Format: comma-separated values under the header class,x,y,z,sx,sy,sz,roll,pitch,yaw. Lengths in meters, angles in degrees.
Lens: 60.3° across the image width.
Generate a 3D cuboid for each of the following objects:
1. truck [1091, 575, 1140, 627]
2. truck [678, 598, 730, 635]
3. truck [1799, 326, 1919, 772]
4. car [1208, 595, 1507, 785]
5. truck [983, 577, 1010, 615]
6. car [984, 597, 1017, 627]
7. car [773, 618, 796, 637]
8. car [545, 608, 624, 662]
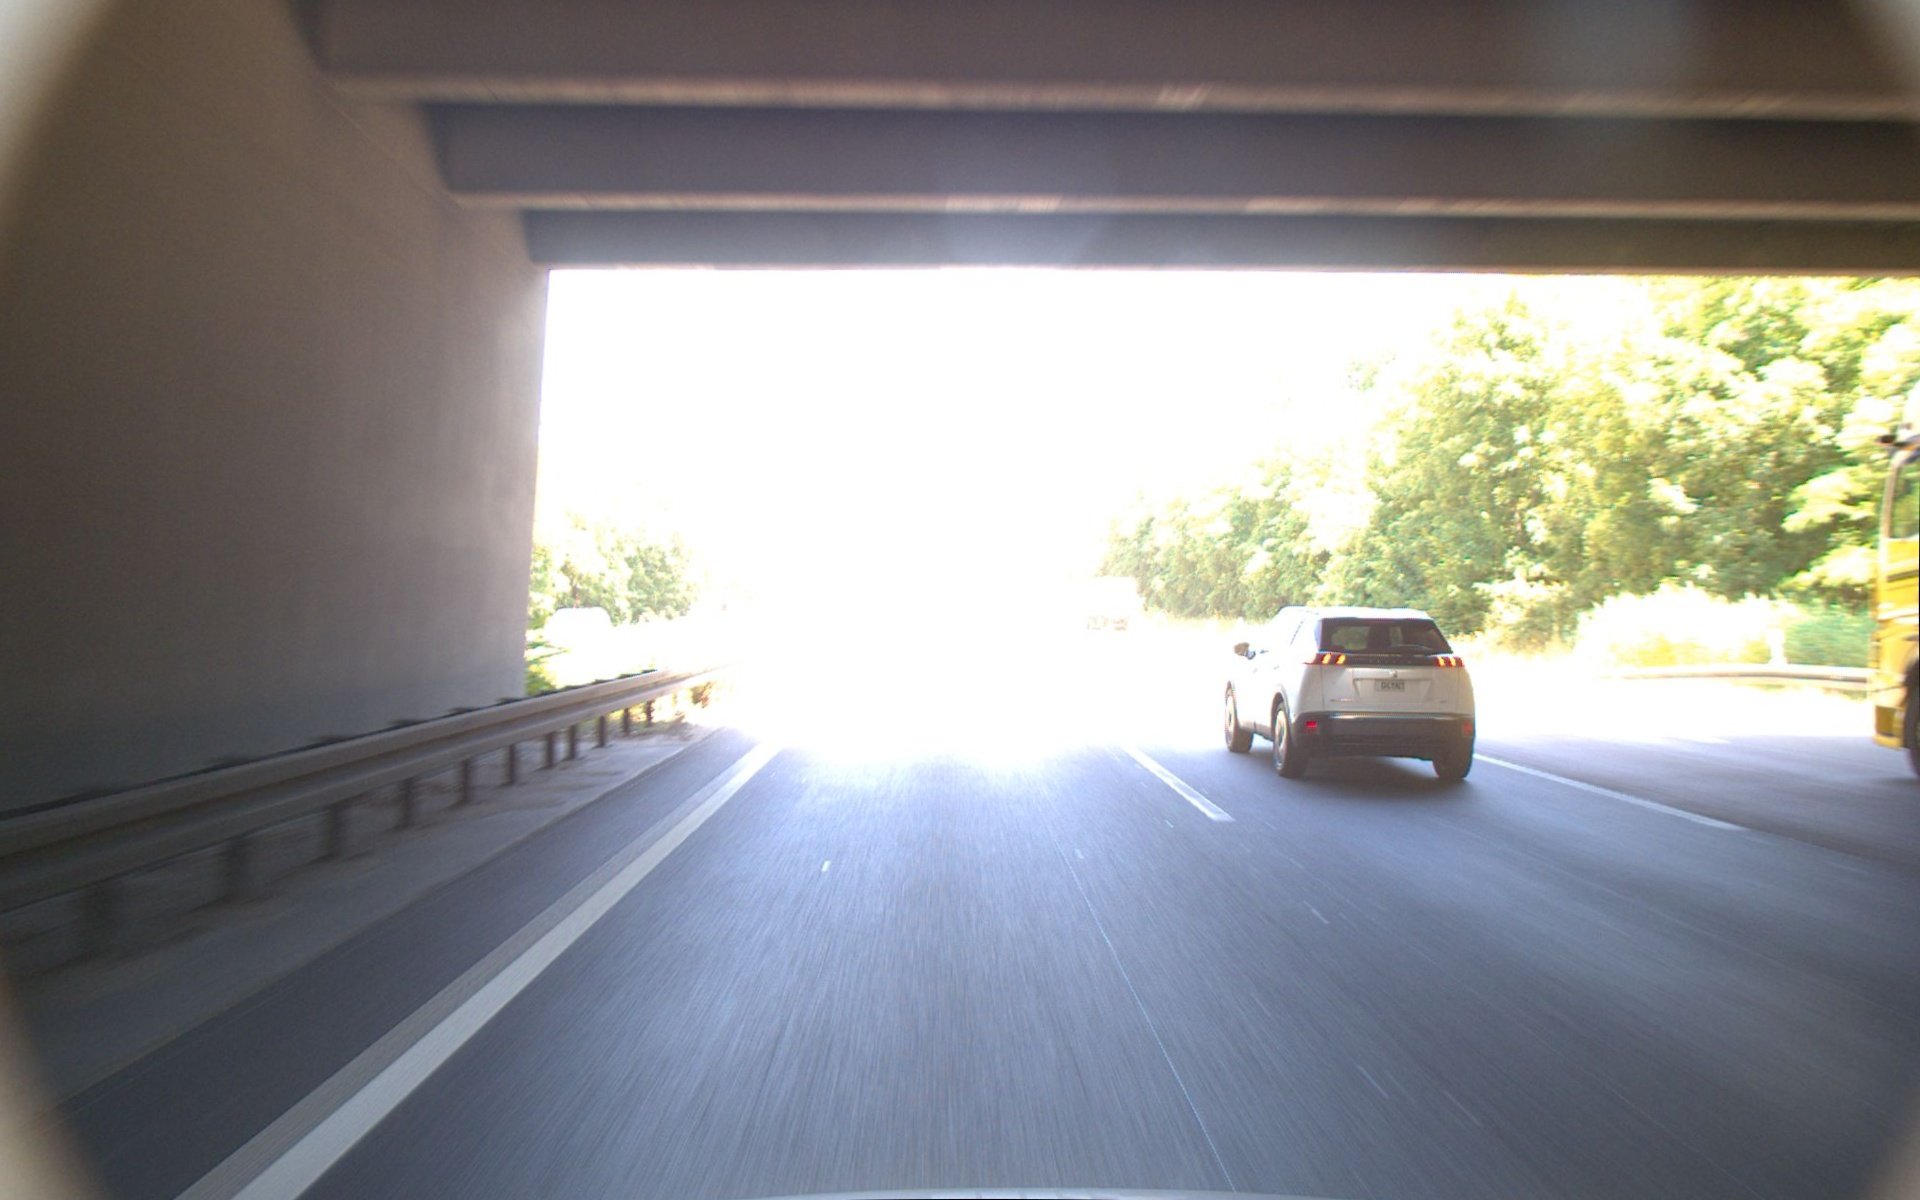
class,x,y,z,sx,sy,sz,roll,pitch,yaw
truck,10.562,0.086,113.423,2.965,3.377,10.775,1,0,4
truck,-22.536,1.461,146.202,2.697,3.043,12.852,-1,0,-1
truck,10.141,-0.461,11.925,2.913,4.107,10.984,2,0,2
car,3.795,0.793,16.690,1.790,1.636,4.807,0,0,-1
truck,4.992,-0.500,227.517,3.308,4.966,15.085,1,0,0
car,2.452,0.740,100.655,1.790,1.736,3.999,1,0,-1
car,-15.362,2.404,144.836,1.654,1.571,4.203,1,0,-1
car,-12.954,1.177,57.303,1.705,1.749,4.638,-2,0,-1
